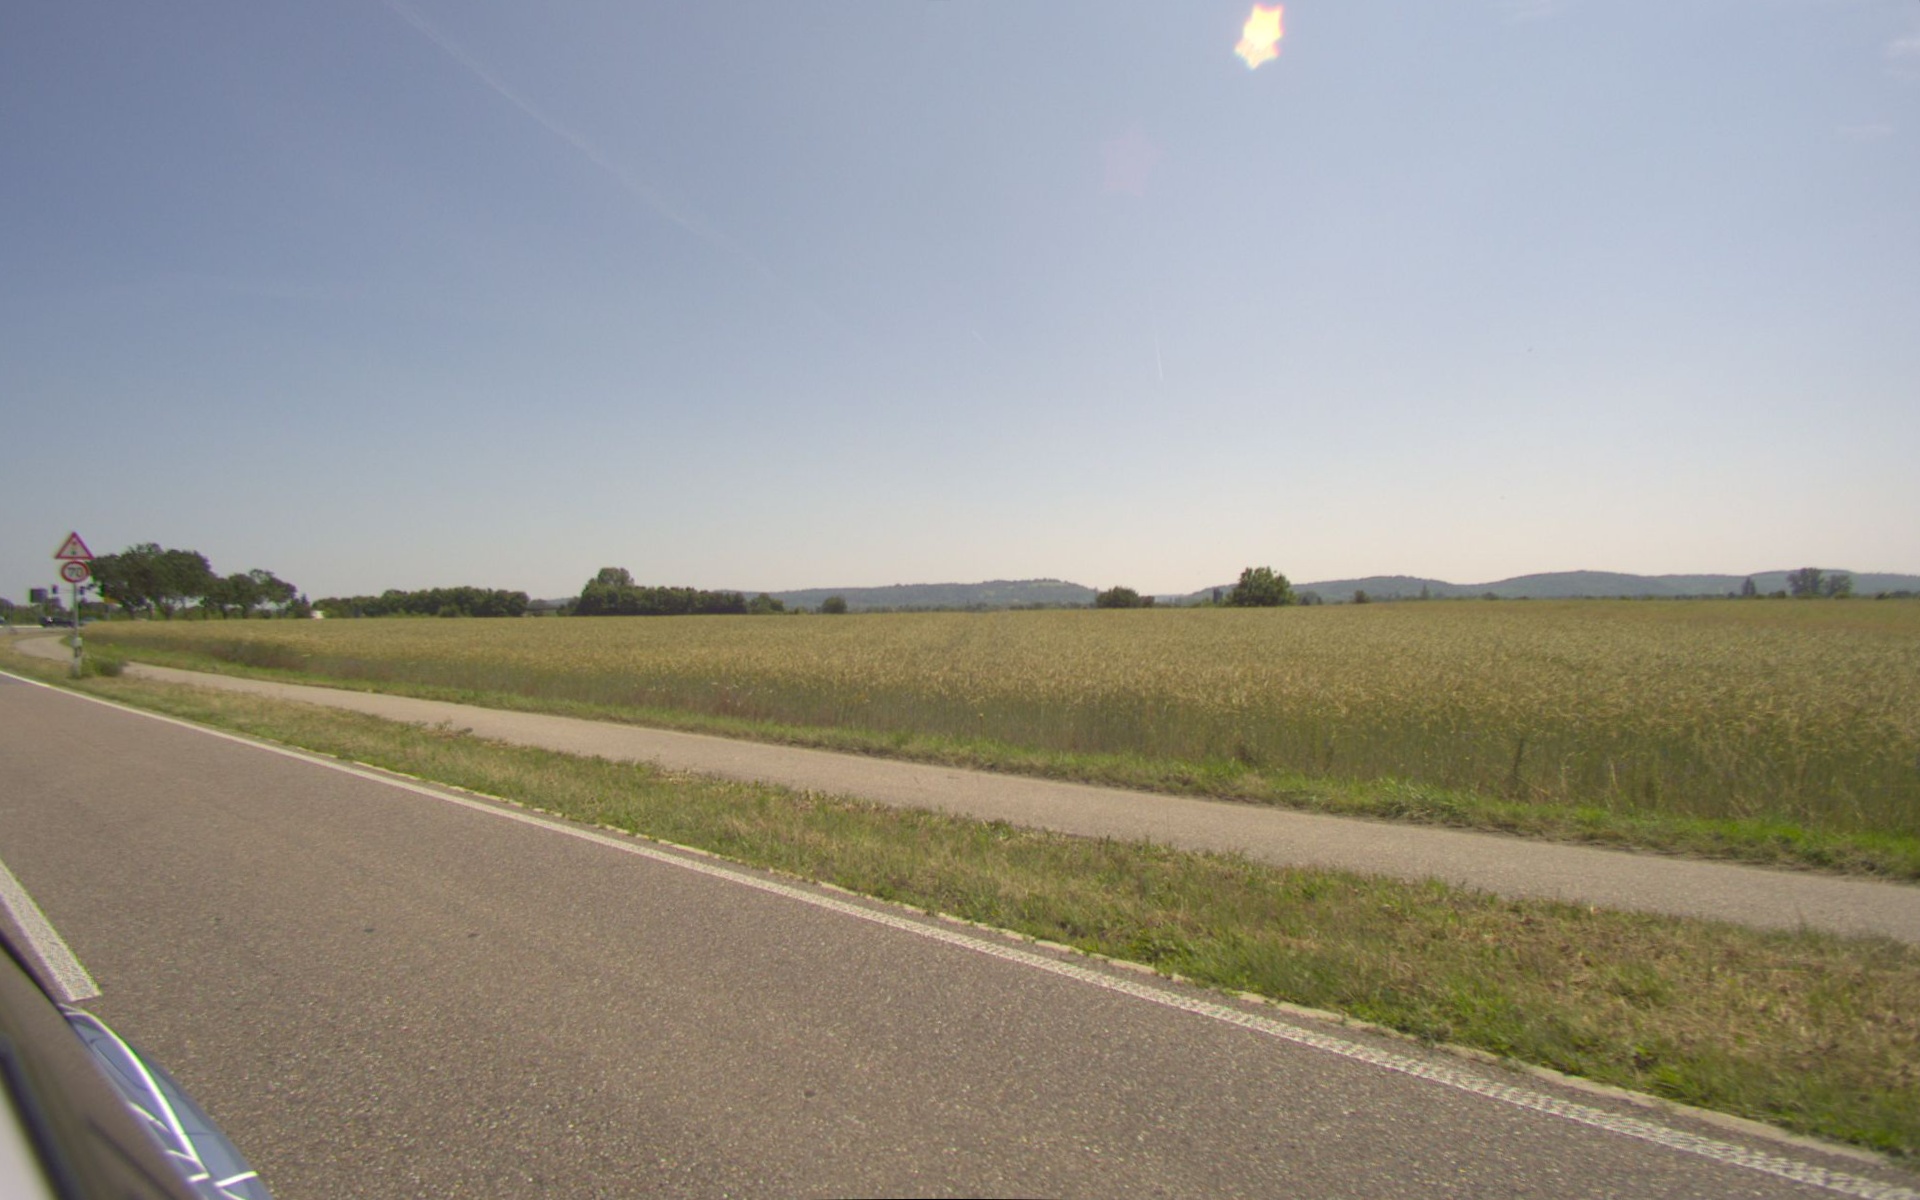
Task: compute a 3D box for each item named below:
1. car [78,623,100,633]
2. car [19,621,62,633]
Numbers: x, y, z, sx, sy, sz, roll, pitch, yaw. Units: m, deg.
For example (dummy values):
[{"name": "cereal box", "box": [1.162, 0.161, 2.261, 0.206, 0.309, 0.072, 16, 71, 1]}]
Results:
[{"name": "car", "box": [-147.681, 4.715, 171.572, 1.629, 1.578, 4.013, 1, -2, -22]}, {"name": "car", "box": [-137.290, 4.045, 151.200, 1.810, 1.653, 4.473, 0, -1, 35]}]
